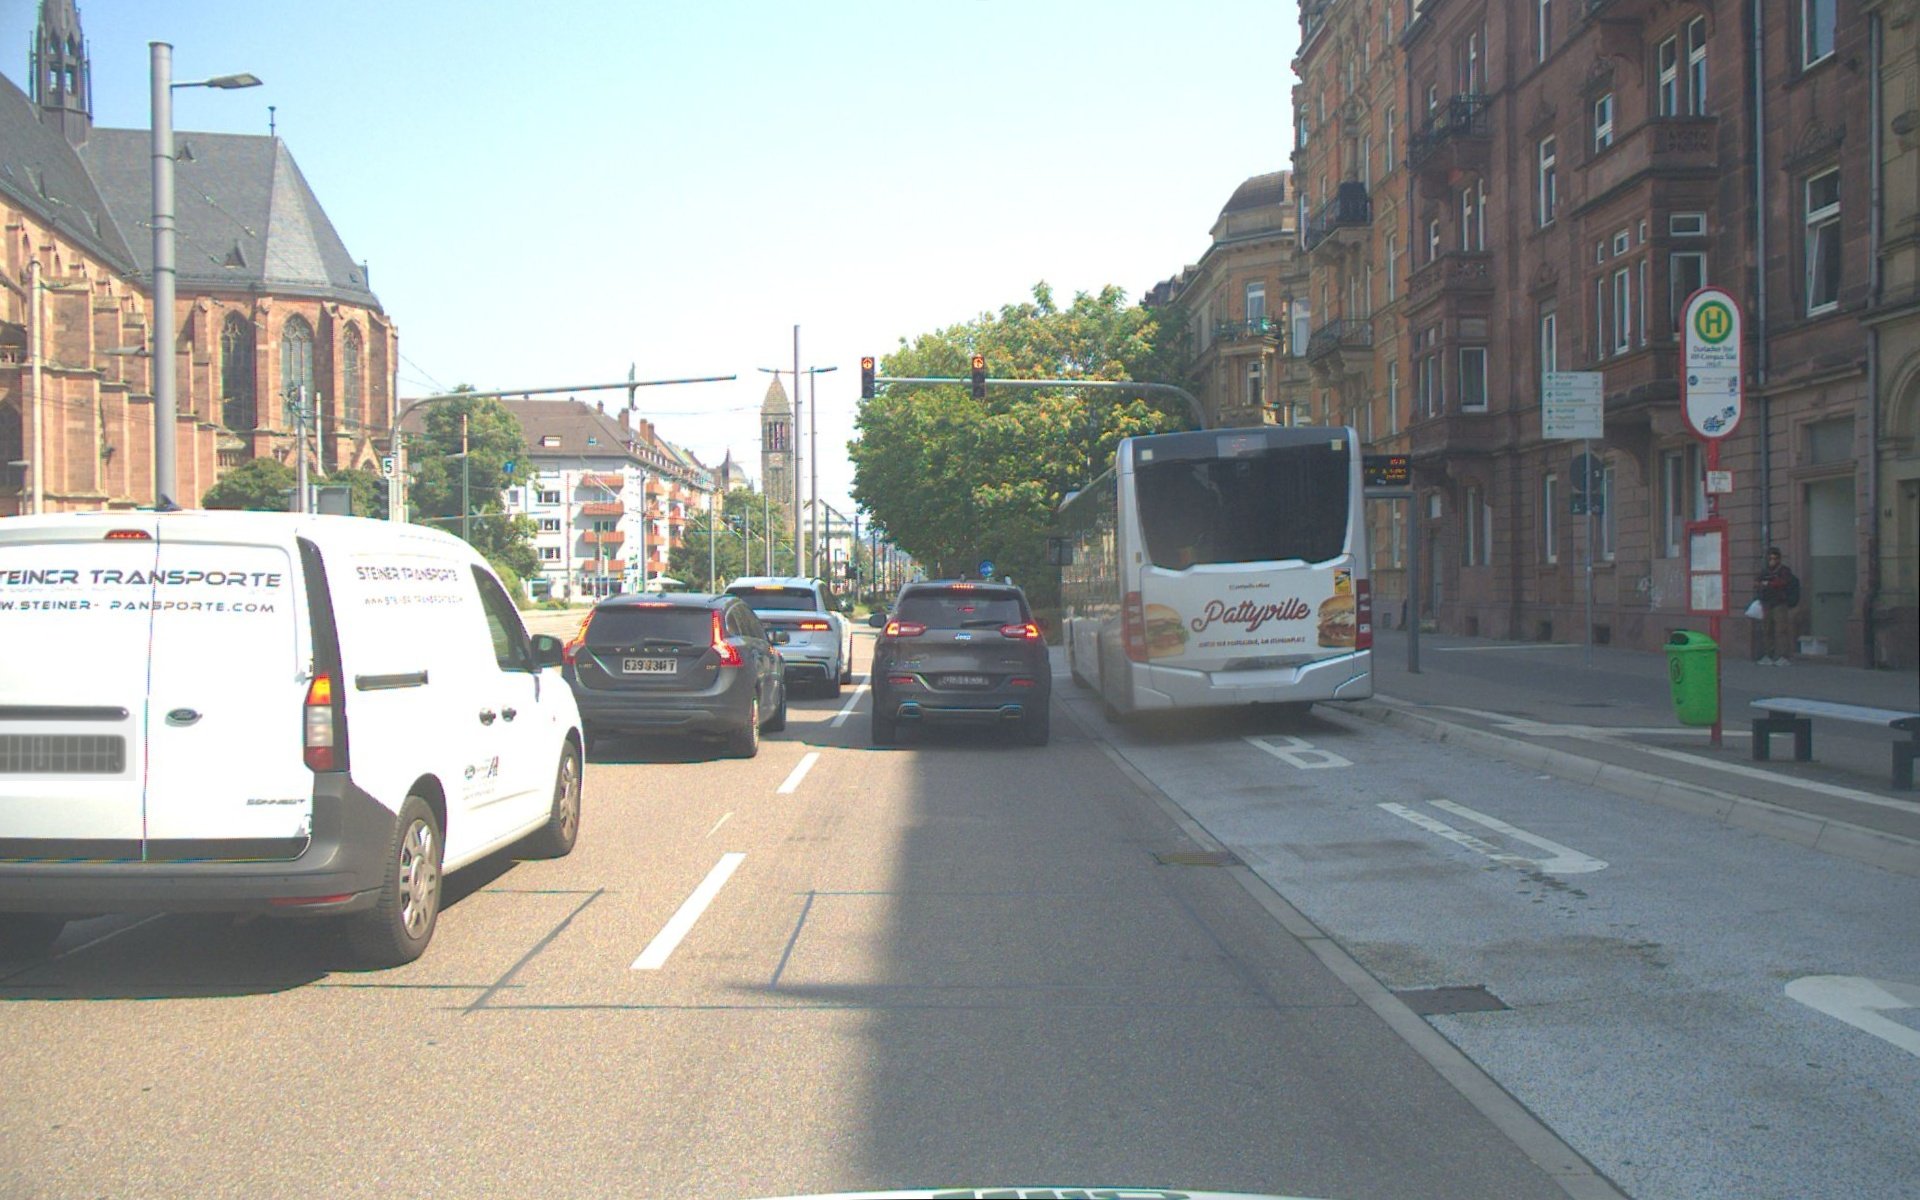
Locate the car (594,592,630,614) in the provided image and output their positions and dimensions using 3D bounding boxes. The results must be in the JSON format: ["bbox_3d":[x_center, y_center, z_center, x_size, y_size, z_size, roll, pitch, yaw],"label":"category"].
[{"bbox_3d":[-25.532,0.228,121.443,1.710,1.460,4.573,-2,1,0],"label":"car"}]

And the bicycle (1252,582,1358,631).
[{"bbox_3d":[10.221,0.189,49.026,2.933,1.395,0.871,-1,0,-2],"label":"bicycle"}]

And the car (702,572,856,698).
[{"bbox_3d":[-2.559,0.448,24.296,1.864,1.680,4.307,0,1,-1],"label":"car"}]

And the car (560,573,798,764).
[{"bbox_3d":[-2.647,0.581,16.484,1.712,1.642,4.307,0,0,-1],"label":"car"}]

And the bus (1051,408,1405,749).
[{"bbox_3d":[2.931,-0.240,22.058,2.687,3.161,11.956,-3,0,0],"label":"bus"}]

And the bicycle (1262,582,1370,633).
[{"bbox_3d":[10.335,0.210,48.123,2.933,1.395,0.871,-1,0,-2],"label":"bicycle"}]

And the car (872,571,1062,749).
[{"bbox_3d":[0.060,0.557,17.966,1.795,1.680,4.308,1,0,0],"label":"car"}]

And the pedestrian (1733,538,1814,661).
[{"bbox_3d":[12.251,-0.009,24.914,0.858,1.809,0.736,-1,0,-29],"label":"pedestrian"}]

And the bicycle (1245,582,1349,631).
[{"bbox_3d":[10.160,0.184,49.938,2.933,1.395,0.871,-1,0,-2],"label":"bicycle"}]

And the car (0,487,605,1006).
[{"bbox_3d":[-3.000,0.512,8.037,1.712,1.852,4.238,0,0,-1],"label":"car"}]
